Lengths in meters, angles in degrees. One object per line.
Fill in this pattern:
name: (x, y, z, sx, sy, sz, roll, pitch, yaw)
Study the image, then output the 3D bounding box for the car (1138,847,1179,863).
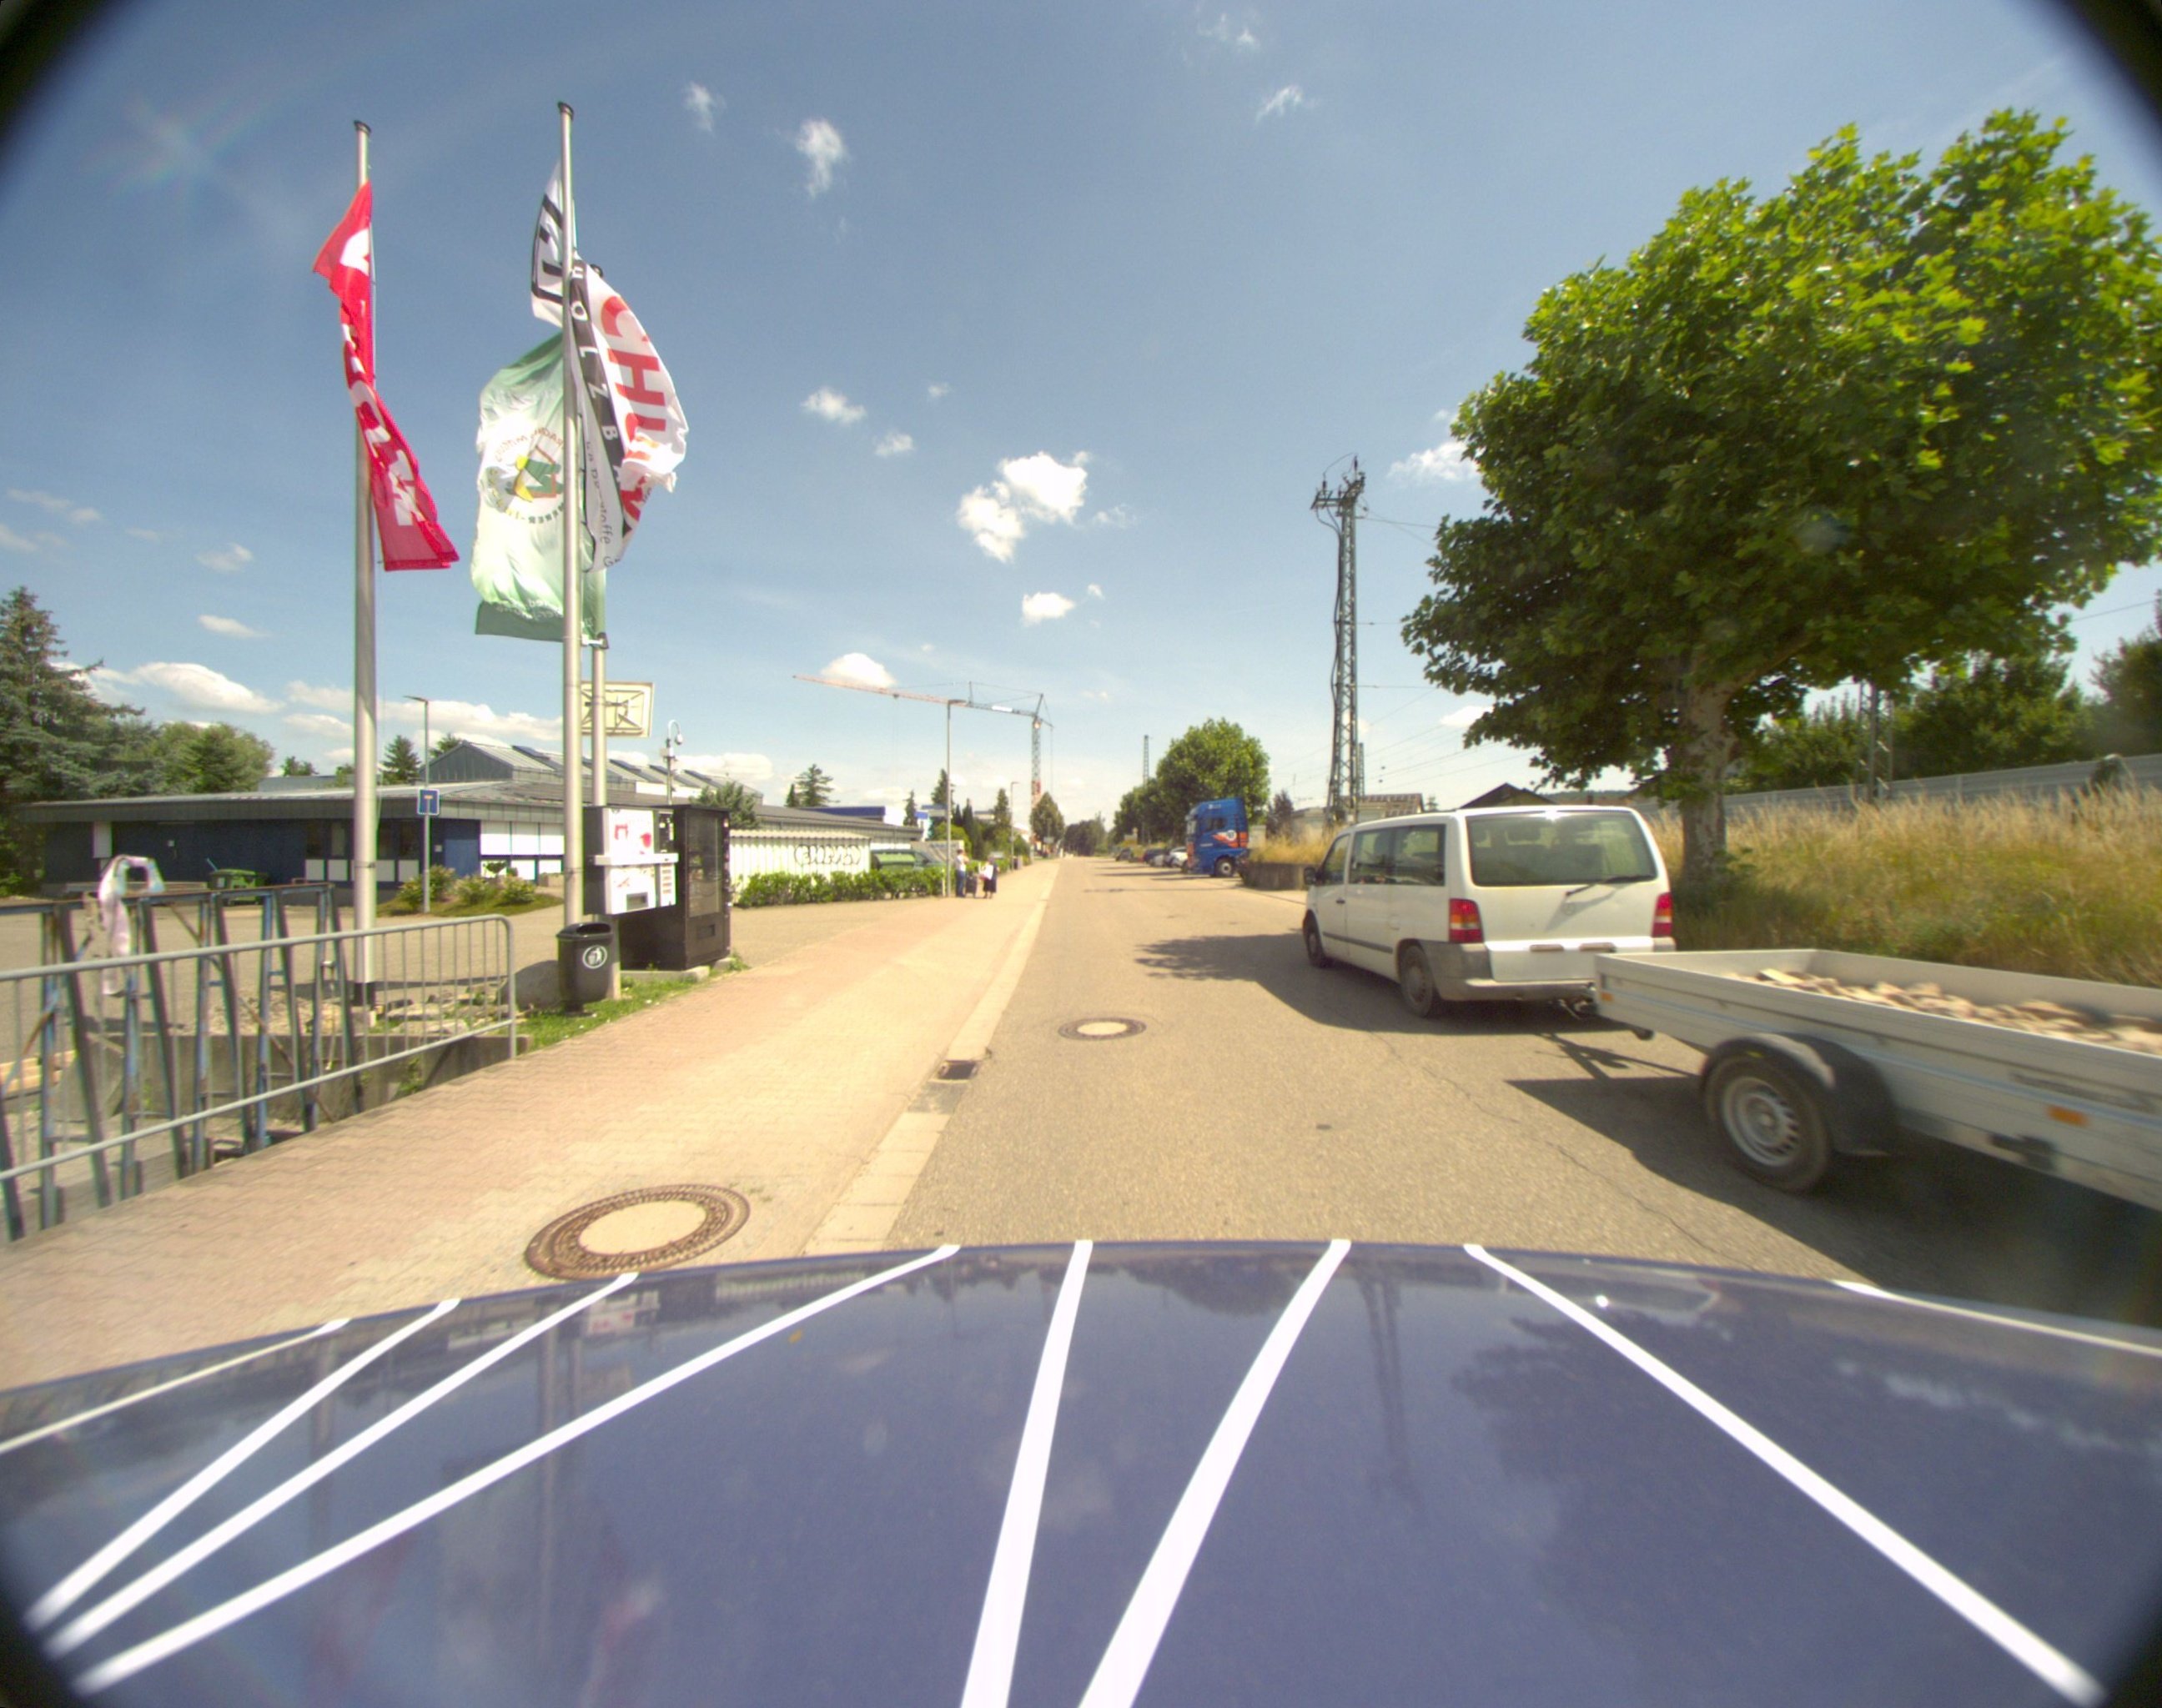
car: (7.333, 0.084, 72.325, 3.676, 1.439, 1.683, -2, 1, -2)

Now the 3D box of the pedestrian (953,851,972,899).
pedestrian: (-3.856, 0.662, 24.763, 0.536, 1.531, 0.510, 1, 2, -1)

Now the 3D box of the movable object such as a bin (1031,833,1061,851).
movable object such as a bin: (-6.595, -2.346, 144.080, 5.133, 3.277, 2.390, 0, 6, -17)

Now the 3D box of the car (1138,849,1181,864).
car: (7.799, 0.222, 75.482, 4.083, 1.360, 1.674, -1, -1, 0)

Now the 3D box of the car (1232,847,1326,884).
car: (8.697, 0.490, 33.534, 3.653, 1.492, 1.698, 0, 3, -4)

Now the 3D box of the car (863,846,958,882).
car: (-8.246, 0.483, 37.016, 4.224, 1.625, 1.799, 0, 3, -2)

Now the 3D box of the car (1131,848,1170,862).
car: (7.658, 0.092, 83.957, 4.084, 1.394, 1.786, -1, 1, -3)

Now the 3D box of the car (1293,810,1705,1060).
car: (3.771, 0.597, 7.944, 1.843, 1.847, 4.483, -1, 0, 0)

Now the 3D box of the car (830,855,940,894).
car: (-7.751, 0.787, 30.246, 3.855, 1.447, 1.817, -1, 1, 0)

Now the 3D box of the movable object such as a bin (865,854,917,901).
movable object such as a bin: (-6.181, 0.746, 24.668, 1.270, 1.450, 1.046, -2, 1, -38)

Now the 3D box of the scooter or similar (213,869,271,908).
scooter or similar: (-30.629, 1.251, 27.761, 1.113, 1.314, 0.926, 1, 3, 9)

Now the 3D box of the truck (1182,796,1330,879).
truck: (8.607, -0.804, 37.828, 6.632, 3.801, 2.663, -1, 1, -3)

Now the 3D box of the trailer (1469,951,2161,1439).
trailer: (3.762, 1.130, 3.483, 1.823, 0.845, 4.222, 1, 0, 0)

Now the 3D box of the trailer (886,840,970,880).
trailer: (-8.080, 0.342, 40.403, 3.997, 2.001, 2.000, -1, -1, -1)

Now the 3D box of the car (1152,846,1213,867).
car: (7.779, 0.194, 58.395, 4.349, 1.524, 1.926, -1, 0, -1)

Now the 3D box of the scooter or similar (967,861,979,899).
scooter or similar: (-3.445, 0.829, 24.324, 0.334, 1.191, 0.397, 0, 3, 0)

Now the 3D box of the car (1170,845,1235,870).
car: (8.037, 0.233, 50.431, 3.981, 1.608, 1.850, -1, 1, -4)

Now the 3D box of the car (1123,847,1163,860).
car: (7.225, -0.066, 88.994, 4.439, 1.402, 1.787, 0, 1, -3)

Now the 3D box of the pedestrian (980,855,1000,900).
pedestrian: (-2.928, 0.744, 24.518, 0.595, 1.397, 0.583, 0, 3, -1)

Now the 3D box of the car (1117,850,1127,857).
car: (7.684, -0.088, 142.988, 1.607, 1.342, 4.000, 0, 1, 1)

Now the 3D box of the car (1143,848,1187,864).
car: (7.660, 0.205, 69.511, 3.954, 1.442, 1.787, 0, 1, 4)

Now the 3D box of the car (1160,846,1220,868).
car: (7.956, 0.227, 55.725, 3.998, 1.539, 1.999, -1, 1, -2)
